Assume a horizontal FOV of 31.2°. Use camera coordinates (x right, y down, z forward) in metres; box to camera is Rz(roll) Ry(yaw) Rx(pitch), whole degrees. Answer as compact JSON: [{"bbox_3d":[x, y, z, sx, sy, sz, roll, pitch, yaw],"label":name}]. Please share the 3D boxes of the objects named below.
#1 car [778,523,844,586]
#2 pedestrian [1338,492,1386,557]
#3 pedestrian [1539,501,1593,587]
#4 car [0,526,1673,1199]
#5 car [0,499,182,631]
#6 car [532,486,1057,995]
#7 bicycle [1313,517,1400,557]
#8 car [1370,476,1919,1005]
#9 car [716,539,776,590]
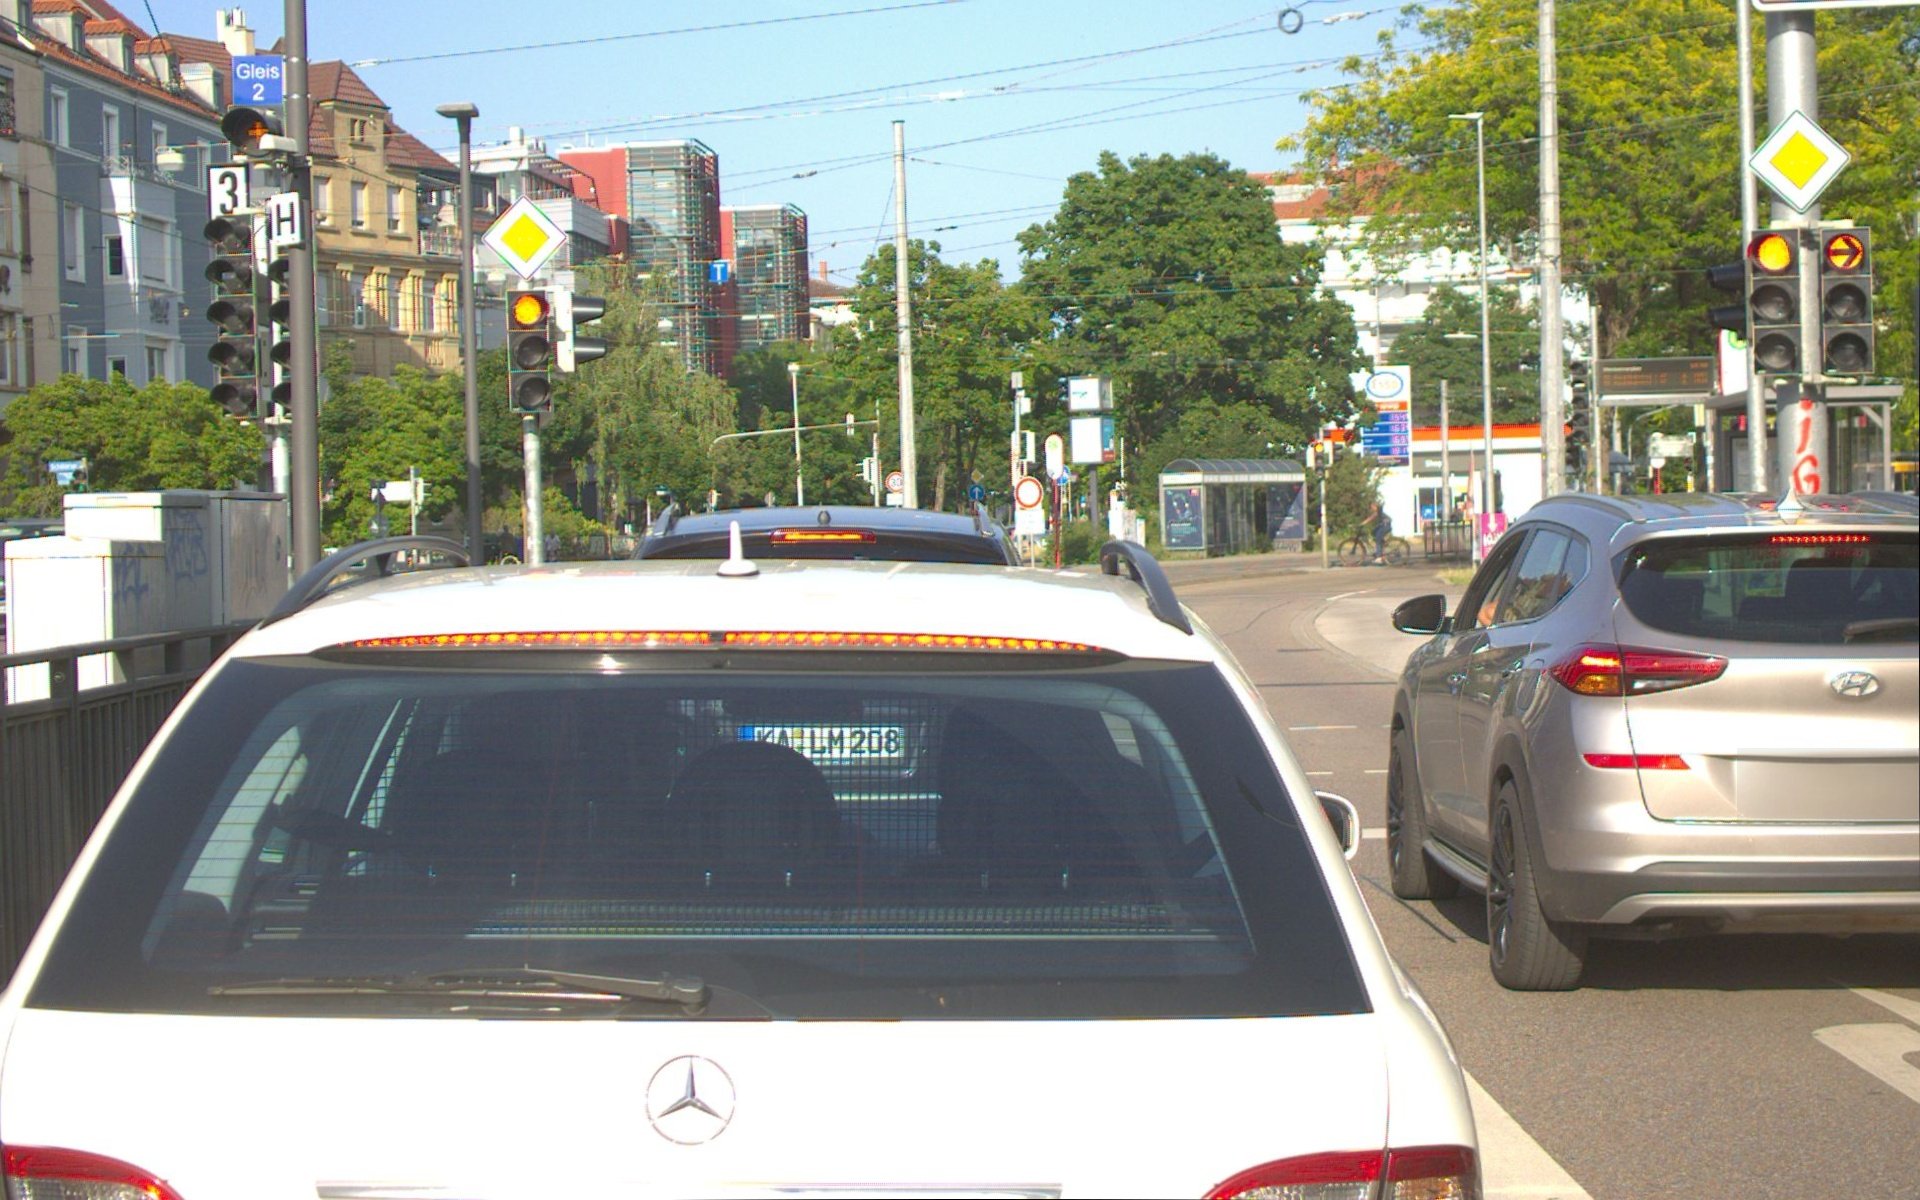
[{"bbox_3d":[-5.649,-1.748,130.675,2.177,2.231,5.253,-2,2,0],"label":"car"},{"bbox_3d":[10.134,-1.902,86.648,1.007,1.586,0.865,-1,1,19],"label":"pedestrian"},{"bbox_3d":[14.302,-1.326,81.116,0.997,2.007,0.827,-1,1,27],"label":"pedestrian"},{"bbox_3d":[-0.282,0.642,5.089,1.835,1.496,3.815,0,1,-1],"label":"car"},{"bbox_3d":[-14.561,-0.587,55.812,2.146,2.007,5.386,-1,1,5],"label":"car"},{"bbox_3d":[-0.540,0.400,12.672,1.641,1.594,3.815,0,1,-1],"label":"car"},{"bbox_3d":[10.006,-1.599,86.702,2.019,0.943,0.878,-1,1,19],"label":"bicycle"},{"bbox_3d":[2.631,0.383,12.260,1.835,1.594,3.815,0,1,-1],"label":"car"},{"bbox_3d":[-7.093,-1.185,114.390,1.676,1.520,4.125,-2,2,0],"label":"car"}]
